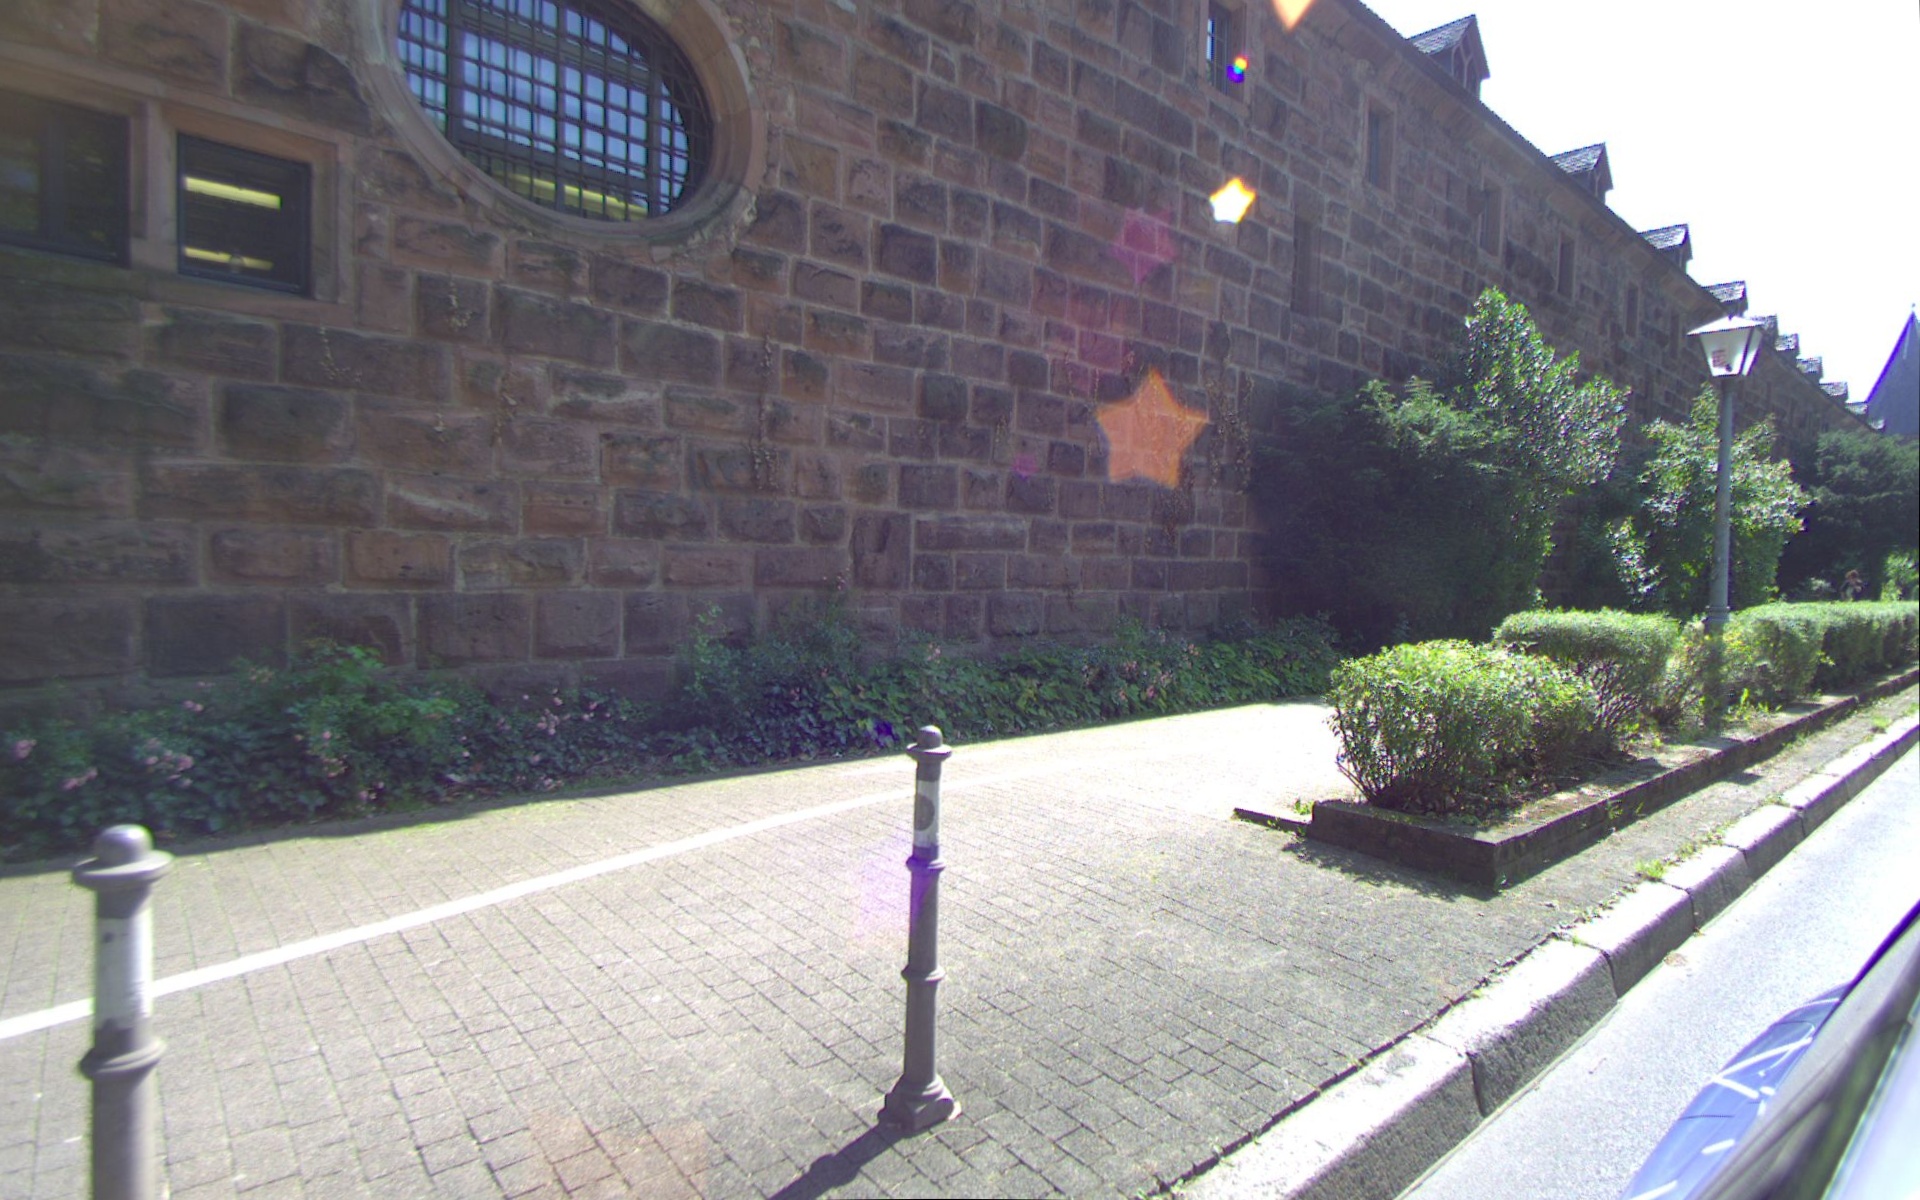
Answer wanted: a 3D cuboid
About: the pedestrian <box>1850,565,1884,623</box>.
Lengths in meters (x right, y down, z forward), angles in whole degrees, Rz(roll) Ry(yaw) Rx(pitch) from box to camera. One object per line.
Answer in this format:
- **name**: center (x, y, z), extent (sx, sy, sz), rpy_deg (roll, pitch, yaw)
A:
- **pedestrian**: center (25.280, -0.178, 28.209), extent (0.554, 1.583, 0.642), rpy_deg (-1, 1, -41)
